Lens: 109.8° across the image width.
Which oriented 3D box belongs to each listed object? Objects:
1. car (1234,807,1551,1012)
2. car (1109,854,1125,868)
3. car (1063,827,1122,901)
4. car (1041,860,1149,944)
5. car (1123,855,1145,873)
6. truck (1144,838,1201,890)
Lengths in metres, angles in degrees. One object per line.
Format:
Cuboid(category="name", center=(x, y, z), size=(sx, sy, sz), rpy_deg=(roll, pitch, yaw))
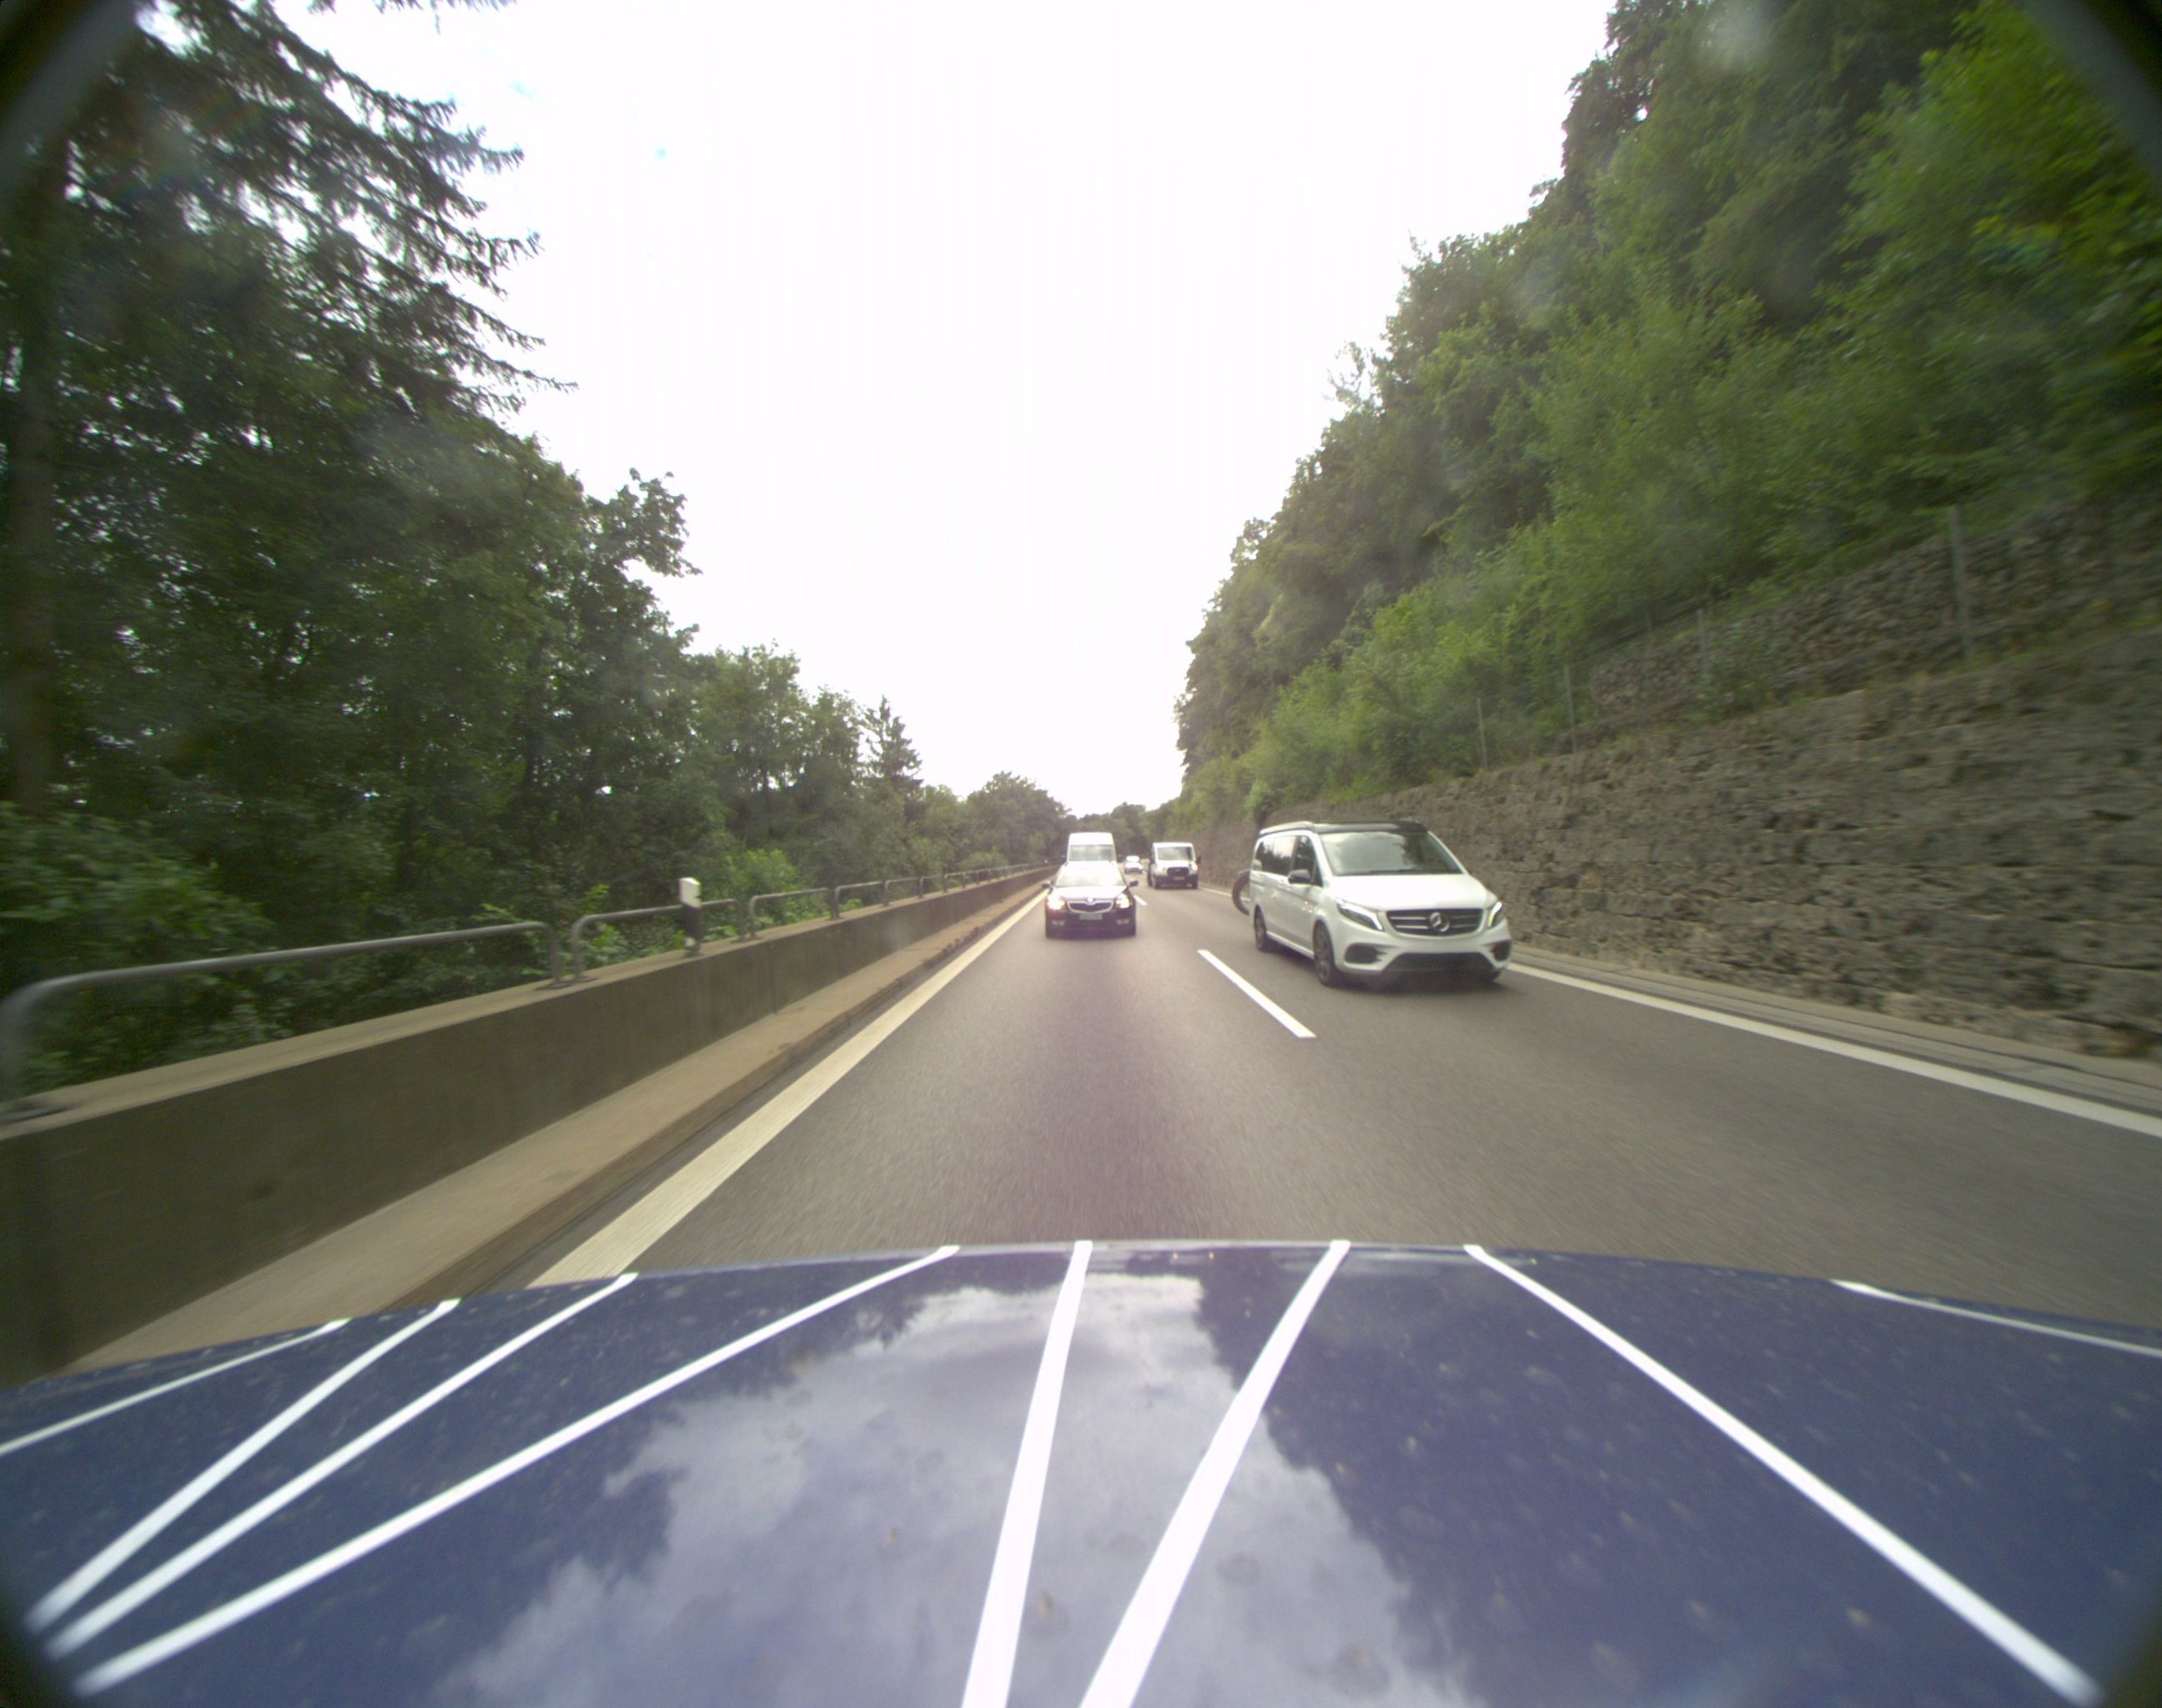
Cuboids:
Cuboid(category="car", center=(3.678, 0.543, 10.540), size=(1.998, 1.941, 6.148), rpy_deg=(-2, 0, 2))
Cuboid(category="car", center=(4.418, 0.850, 94.159), size=(1.711, 1.568, 4.602), rpy_deg=(-2, 0, 1))
Cuboid(category="car", center=(0.548, 0.325, 29.337), size=(1.998, 2.550, 5.919), rpy_deg=(-1, 1, 3))
Cuboid(category="car", center=(0.196, 0.896, 16.765), size=(1.913, 1.391, 5.696), rpy_deg=(-3, 0, -1))
Cuboid(category="car", center=(4.985, 0.909, 71.648), size=(1.711, 1.568, 4.602), rpy_deg=(-2, 0, 1))
Cuboid(category="truck", center=(4.428, 0.446, 37.739), size=(1.998, 2.266, 6.586), rpy_deg=(-2, 0, 1))
